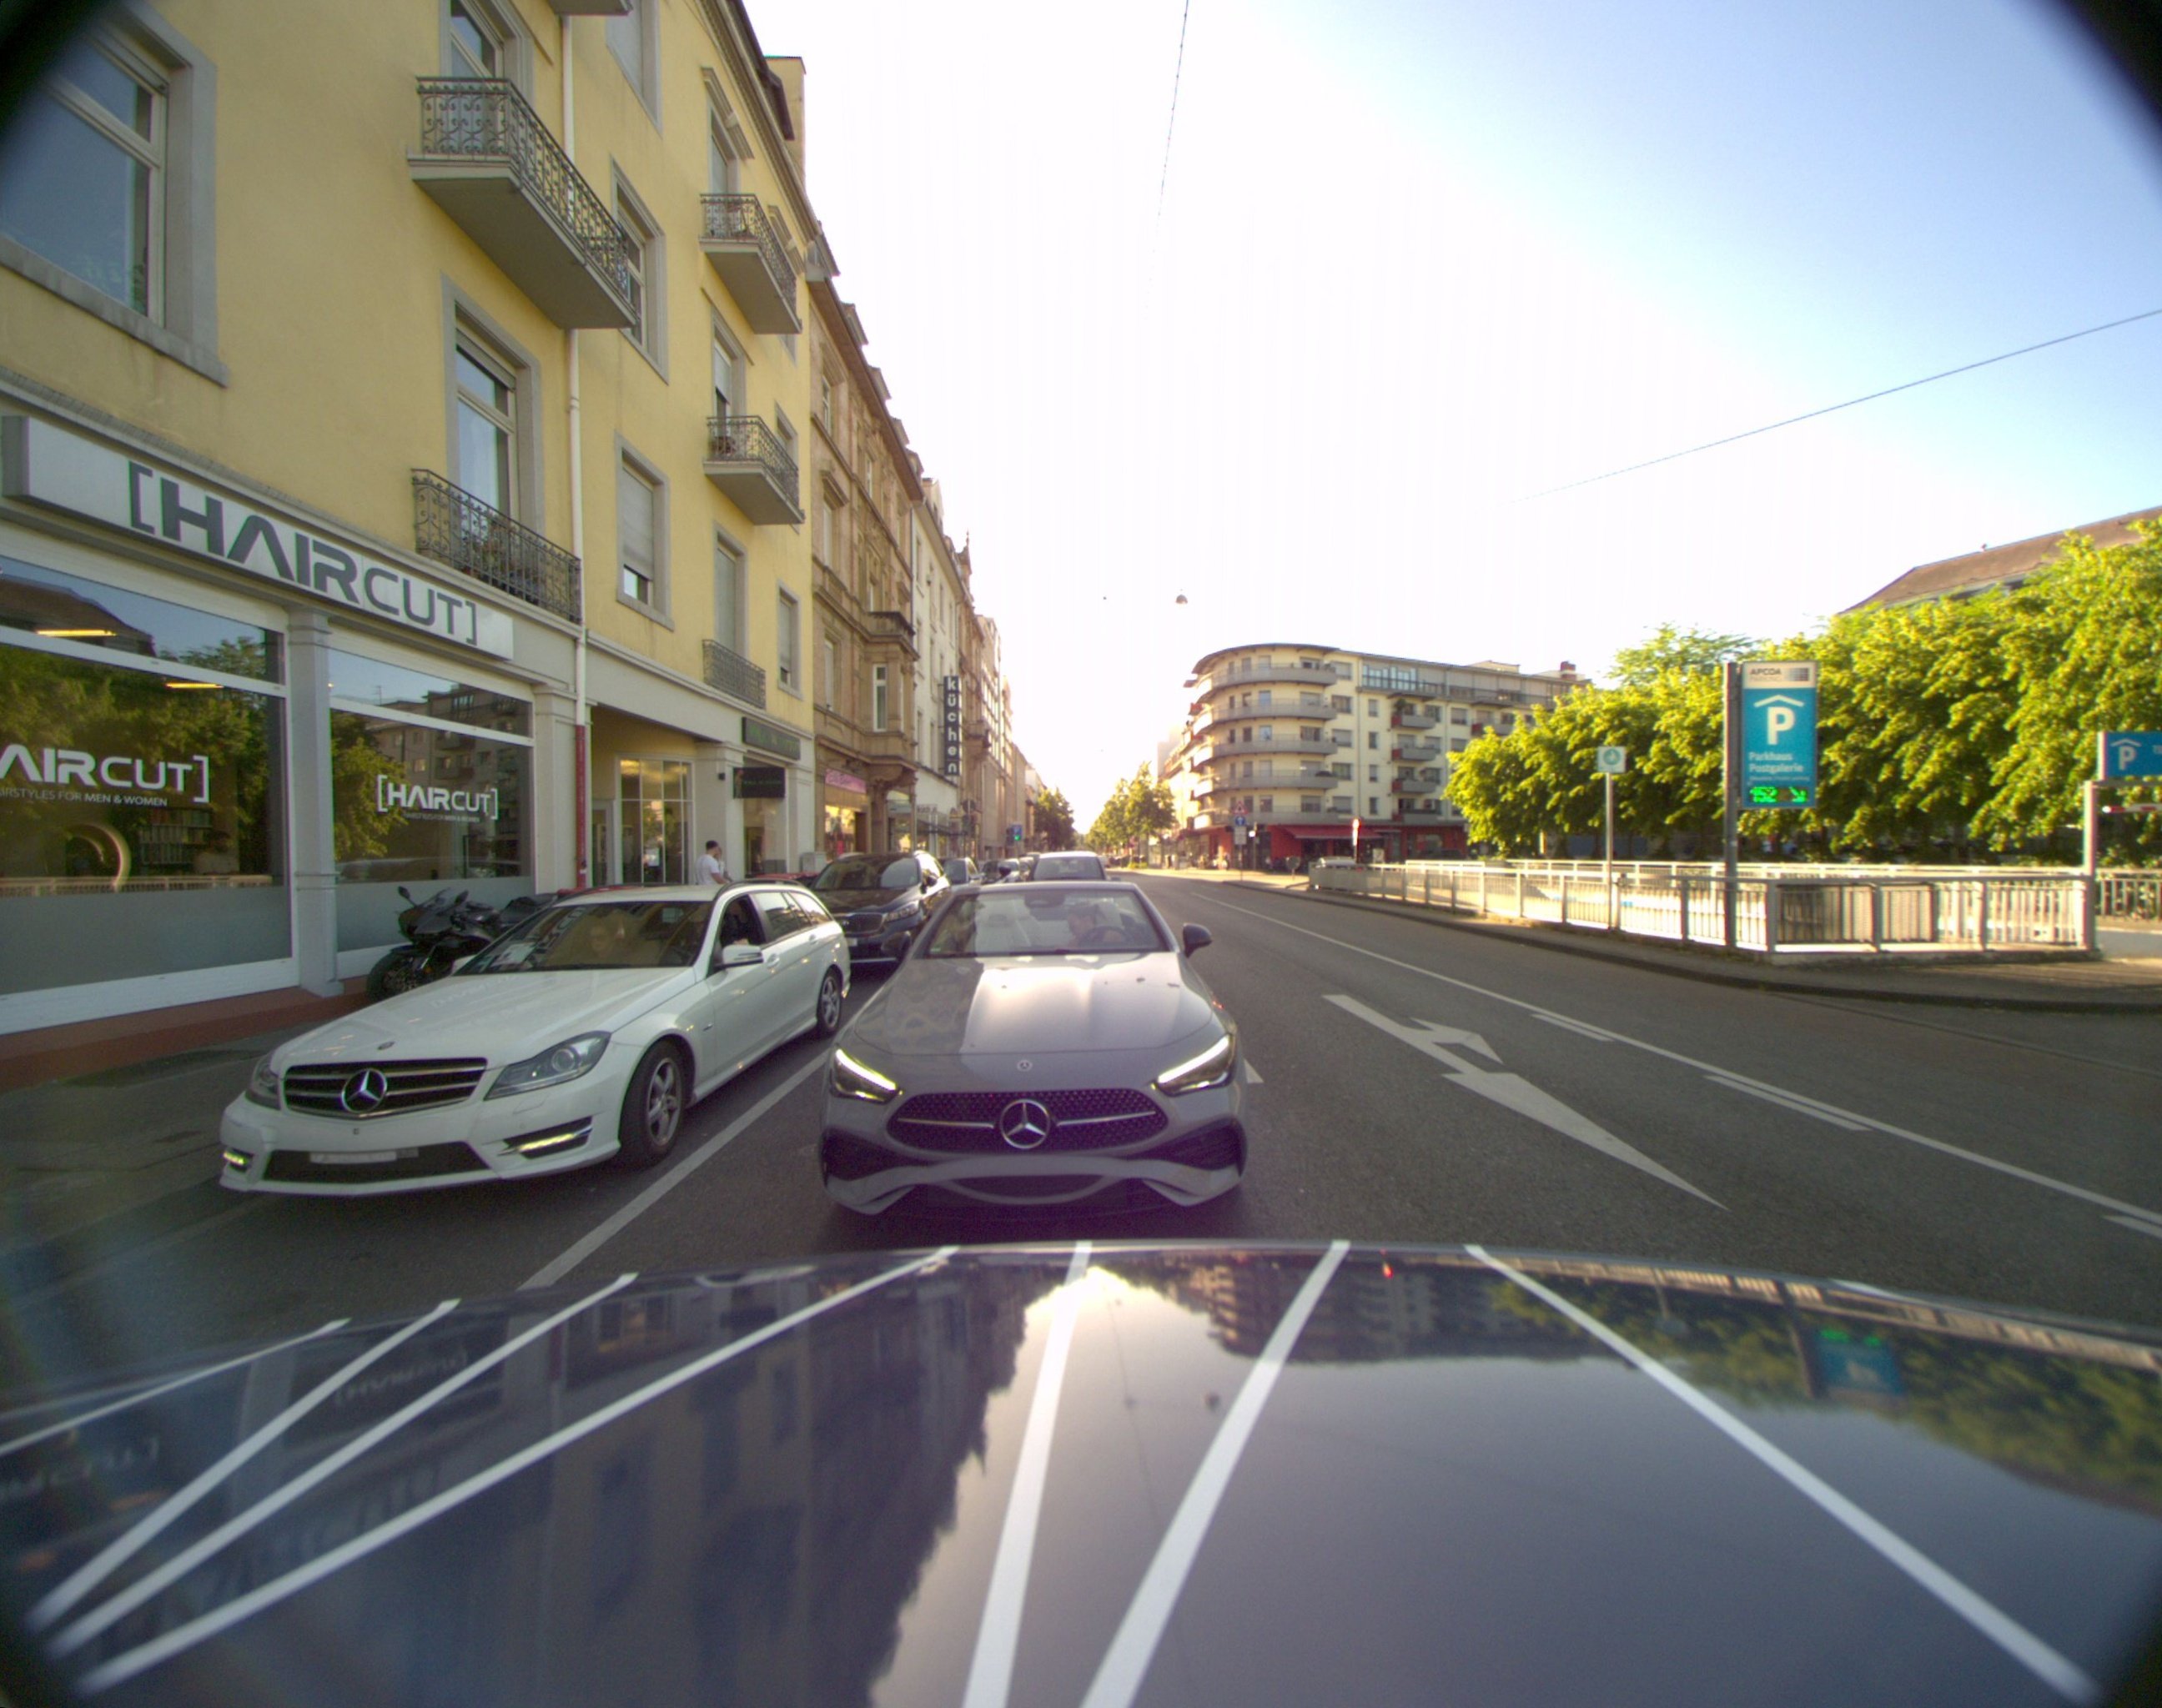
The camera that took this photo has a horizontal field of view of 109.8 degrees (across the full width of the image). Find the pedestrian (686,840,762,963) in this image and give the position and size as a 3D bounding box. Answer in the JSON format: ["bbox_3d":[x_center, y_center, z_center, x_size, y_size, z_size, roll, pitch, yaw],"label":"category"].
[{"bbox_3d":[-5.701,0.730,12.136,0.975,1.866,0.534,-3,1,-31],"label":"pedestrian"}]

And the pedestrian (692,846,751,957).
[{"bbox_3d":[-6.153,0.794,13.052,0.630,1.826,0.770,-2,1,-7],"label":"pedestrian"}]

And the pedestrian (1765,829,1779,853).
[{"bbox_3d":[46.204,-0.853,50.788,0.494,1.570,0.493,-3,1,-24],"label":"pedestrian"}]

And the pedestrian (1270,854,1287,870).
[{"bbox_3d":[15.423,0.653,59.373,0.937,1.191,0.832,-3,1,-24],"label":"pedestrian"}]

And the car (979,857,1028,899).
[{"bbox_3d":[-3.031,0.902,30.304,1.695,1.482,3.796,-2,1,-3],"label":"car"}]

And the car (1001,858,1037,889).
[{"bbox_3d":[-2.959,0.900,36.673,1.461,1.310,3.363,-2,1,-1],"label":"car"}]

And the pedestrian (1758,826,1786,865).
[{"bbox_3d":[33.361,-0.425,36.678,0.748,1.832,0.683,-2,1,-13],"label":"pedestrian"}]

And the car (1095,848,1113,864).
[{"bbox_3d":[2.713,0.218,89.362,1.836,1.831,3.886,1,1,-2],"label":"car"}]

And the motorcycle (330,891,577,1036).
[{"bbox_3d":[-6.259,1.023,7.780,0.735,1.124,2.109,2,1,1],"label":"motorcycle"}]

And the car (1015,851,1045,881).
[{"bbox_3d":[-3.158,0.716,47.539,1.695,1.670,3.880,-2,1,-3],"label":"car"}]

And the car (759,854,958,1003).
[{"bbox_3d":[-3.017,0.890,11.330,1.806,1.680,4.408,-2,1,-3],"label":"car"}]

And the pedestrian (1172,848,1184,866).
[{"bbox_3d":[9.676,0.295,75.797,1.068,1.709,1.081,-2,1,3],"label":"pedestrian"}]

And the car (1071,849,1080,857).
[{"bbox_3d":[-1.085,-0.192,147.395,1.695,1.437,3.575,-2,1,-2],"label":"car"}]

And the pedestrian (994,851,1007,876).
[{"bbox_3d":[-5.896,0.685,55.502,0.826,1.750,0.823,-2,1,-1],"label":"pedestrian"}]

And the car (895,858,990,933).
[{"bbox_3d":[-3.186,0.905,17.981,1.583,1.514,2.998,-2,1,1],"label":"car"}]

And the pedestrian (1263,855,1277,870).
[{"bbox_3d":[14.917,0.665,60.031,0.780,1.191,0.884,-2,1,-10],"label":"pedestrian"}]

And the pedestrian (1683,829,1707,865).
[{"bbox_3d":[31.863,-0.379,39.439,0.748,1.832,0.683,-3,1,-21],"label":"pedestrian"}]

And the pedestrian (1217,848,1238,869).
[{"bbox_3d":[11.889,0.329,61.734,1.141,1.656,1.270,-3,1,-25],"label":"pedestrian"}]

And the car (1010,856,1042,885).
[{"bbox_3d":[-2.947,0.866,40.941,1.461,1.391,3.363,-2,1,-1],"label":"car"}]

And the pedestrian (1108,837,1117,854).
[{"bbox_3d":[4.398,-1.152,105.726,1.117,2.328,1.028,-2,1,-1],"label":"pedestrian"}]

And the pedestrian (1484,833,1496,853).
[{"bbox_3d":[38.358,-1.001,71.242,0.747,1.832,0.684,-2,1,1],"label":"pedestrian"}]

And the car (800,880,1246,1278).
[{"bbox_3d":[-0.285,0.997,5.350,1.769,1.360,4.471,-2,1,-2],"label":"car"}]

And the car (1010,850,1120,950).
[{"bbox_3d":[-0.348,0.800,15.674,1.866,1.658,4.706,-2,1,-2],"label":"car"}]

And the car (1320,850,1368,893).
[{"bbox_3d":[11.203,0.703,32.600,1.674,1.522,4.253,-3,2,16],"label":"car"}]

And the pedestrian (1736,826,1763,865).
[{"bbox_3d":[32.447,-0.402,36.880,0.748,1.852,0.683,-2,1,-13],"label":"pedestrian"}]

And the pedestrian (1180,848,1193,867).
[{"bbox_3d":[10.178,0.308,73.409,1.060,1.739,0.962,-2,1,1],"label":"pedestrian"}]

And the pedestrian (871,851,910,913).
[{"bbox_3d":[-5.379,0.781,21.542,0.837,1.709,0.819,-2,1,-1],"label":"pedestrian"}]

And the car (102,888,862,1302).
[{"bbox_3d":[-3.030,1.072,5.239,1.672,1.364,4.377,-2,1,1],"label":"car"}]
